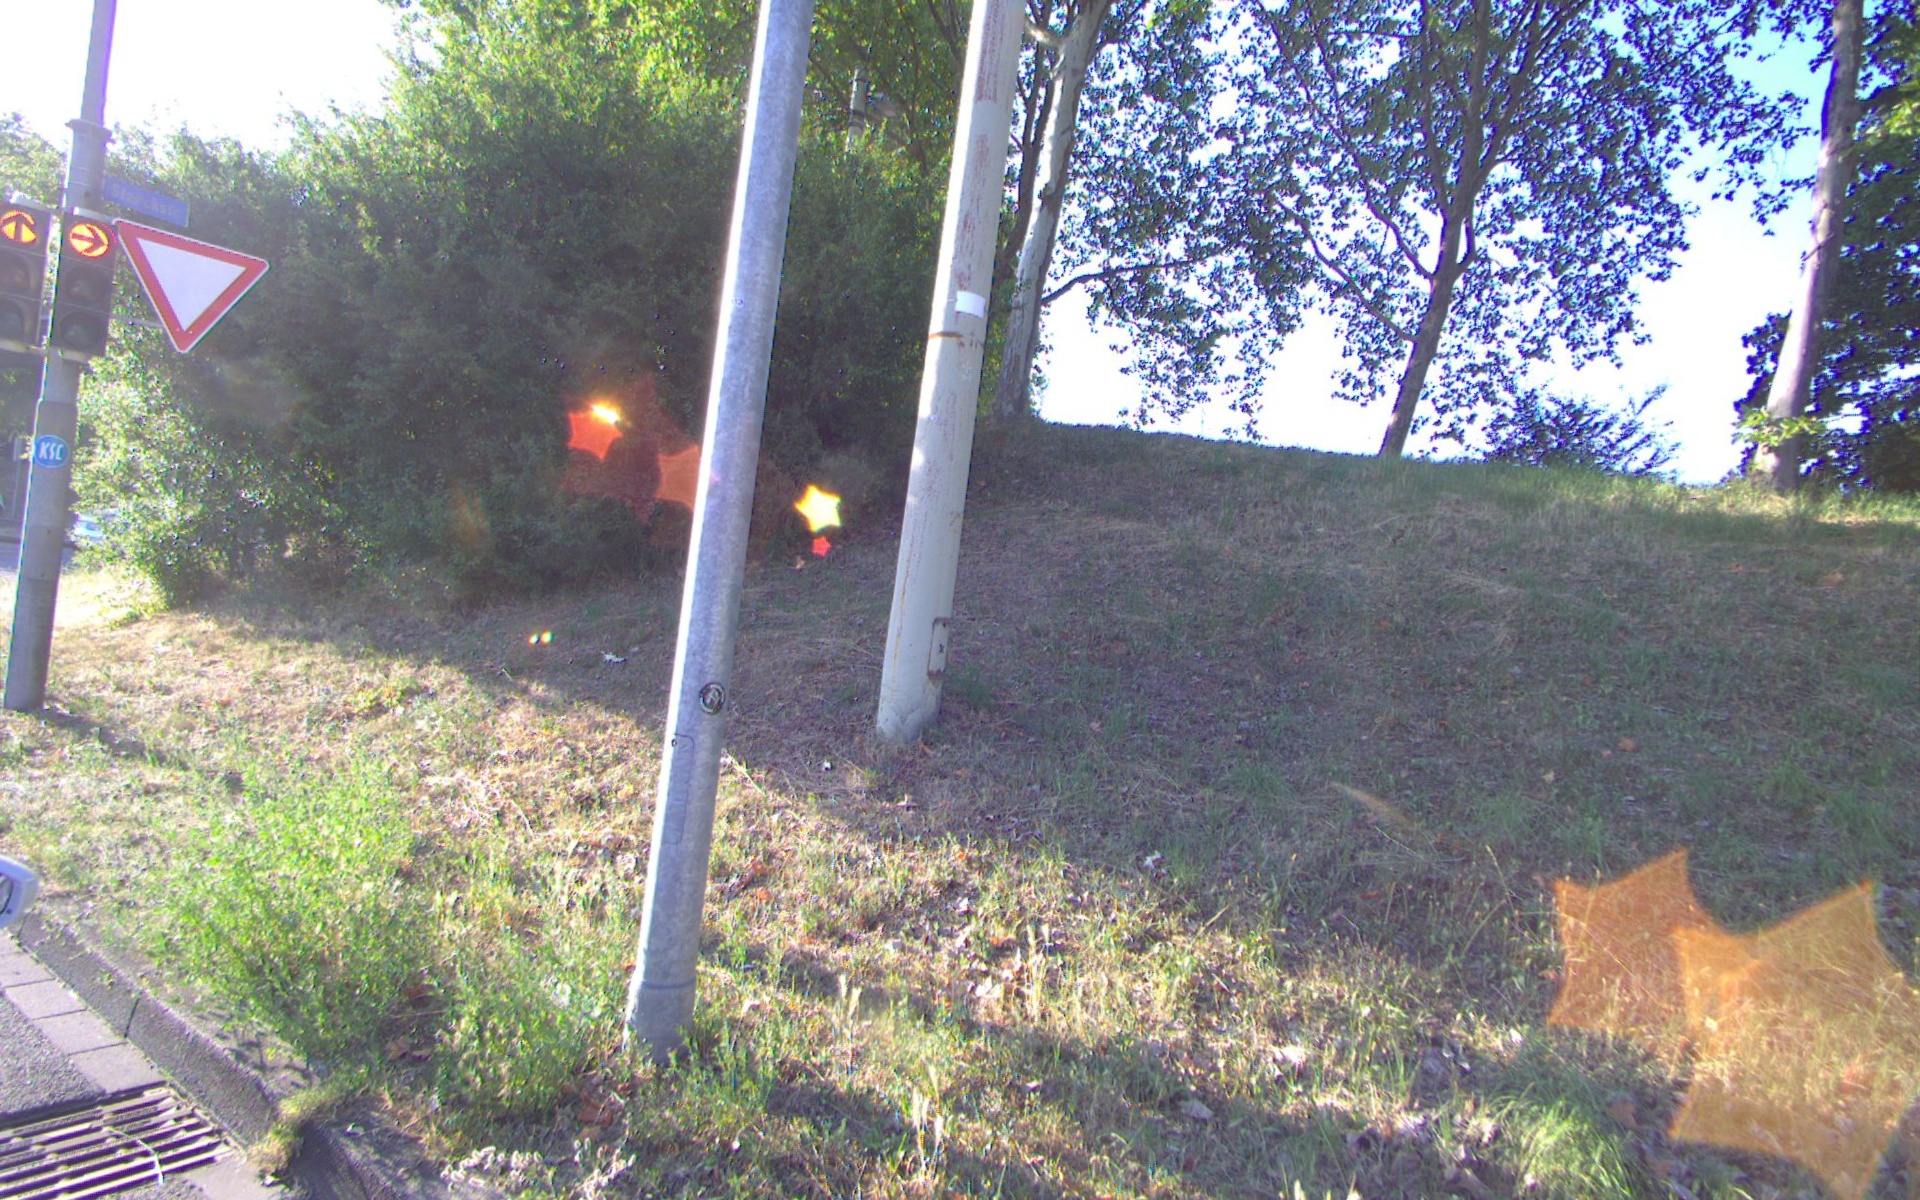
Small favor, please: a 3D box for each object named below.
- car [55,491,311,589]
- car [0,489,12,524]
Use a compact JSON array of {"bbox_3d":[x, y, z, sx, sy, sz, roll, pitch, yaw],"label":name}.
[{"bbox_3d":[-18.197,-1.324,23.909,1.661,1.593,4.773,7,-2,11],"label":"car"},{"bbox_3d":[-44.365,-4.434,43.902,1.661,1.529,4.012,7,-2,13],"label":"car"}]
